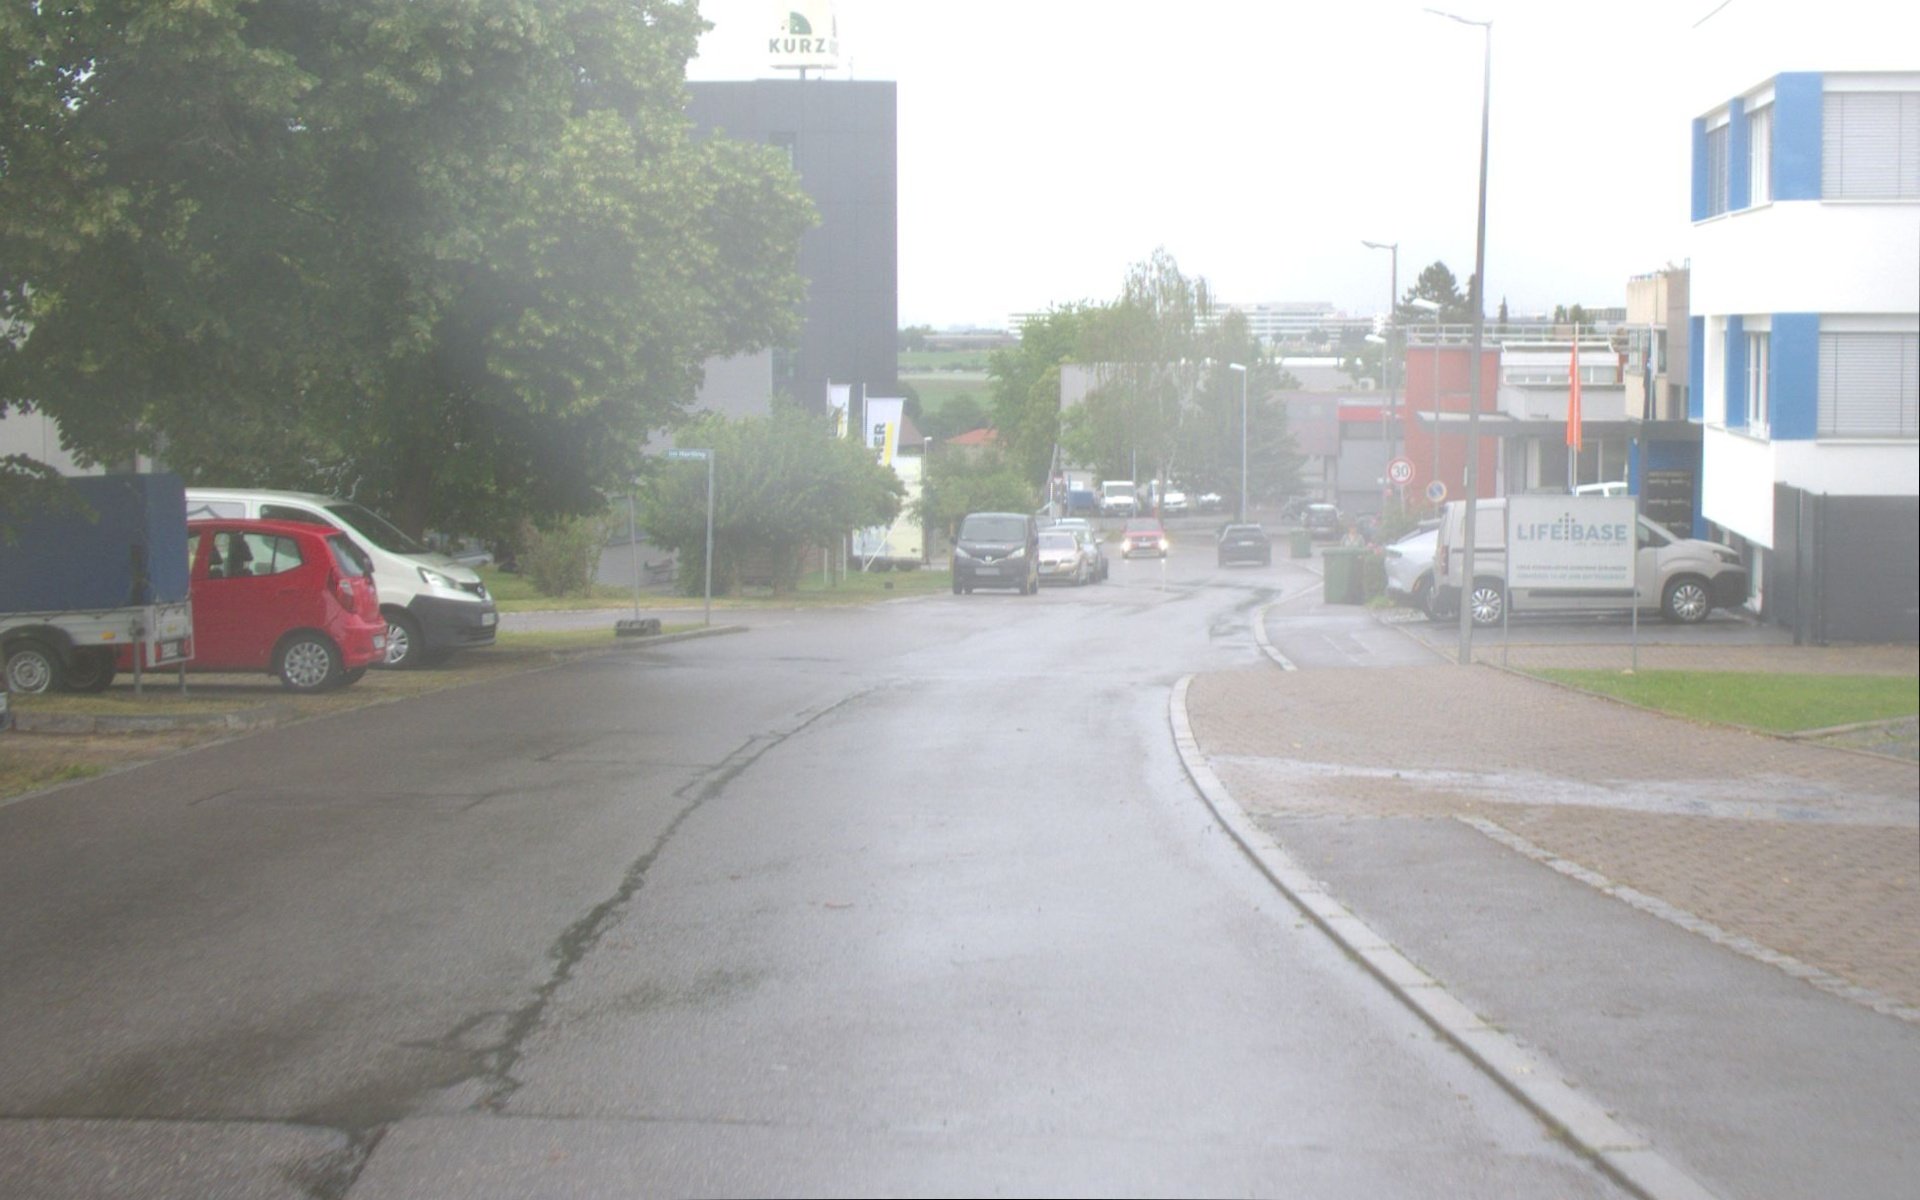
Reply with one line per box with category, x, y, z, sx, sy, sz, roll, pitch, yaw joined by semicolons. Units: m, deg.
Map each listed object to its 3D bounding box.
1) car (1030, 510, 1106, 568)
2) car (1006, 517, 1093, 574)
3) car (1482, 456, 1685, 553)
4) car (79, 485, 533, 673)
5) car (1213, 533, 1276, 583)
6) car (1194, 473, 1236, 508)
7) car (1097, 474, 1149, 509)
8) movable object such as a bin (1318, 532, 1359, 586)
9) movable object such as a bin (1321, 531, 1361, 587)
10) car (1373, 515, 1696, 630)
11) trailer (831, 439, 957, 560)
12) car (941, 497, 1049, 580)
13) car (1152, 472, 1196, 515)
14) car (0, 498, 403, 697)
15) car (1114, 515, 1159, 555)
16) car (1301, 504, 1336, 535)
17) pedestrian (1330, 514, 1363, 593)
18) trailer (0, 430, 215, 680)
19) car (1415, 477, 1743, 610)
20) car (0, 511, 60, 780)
car;3.143;-1.750;99.010;1.957;1.571;4.839;-1;1;4
car;2.445;-1.499;92.675;1.956;1.456;5.247;0;2;6
car;17.679;-2.695;97.724;5.299;2.006;2.221;-8;0;6
car;-6.826;-0.221;36.091;4.301;1.899;1.861;0;1;9
car;9.801;-1.455;118.805;1.956;1.670;4.472;0;1;2
car;15.209;-6.516;205.306;2.145;2.007;3.940;0;1;-1
car;9.670;-6.455;204.436;2.264;2.007;4.001;-1;1;-10
movable object such as a bin;7.219;-0.786;65.575;0.772;1.026;0.808;0;2;7
movable object such as a bin;7.345;-0.796;66.300;0.743;1.063;0.636;0;2;7
car;8.550;-0.425;51.524;4.598;1.533;2.079;-2;1;6
trailer;-2.347;-3.551;121.526;4.184;4.188;2.001;0;2;44
car;0.831;-1.418;78.121;1.916;1.825;4.847;0;1;7
car;12.707;-6.325;204.559;2.192;2.451;4.001;-1;1;-2
car;-7.281;-0.033;31.054;4.195;1.716;1.755;0;1;0
car;7.126;-2.600;138.793;1.747;1.503;3.935;-3;0;3
car;17.608;-3.939;168.892;1.697;1.470;3.999;0;1;5
pedestrian;8.670;-1.045;77.095;0.737;1.761;0.808;0;1;7
trailer;-8.455;-0.356;28.270;4.213;1.977;1.774;0;1;3
car;8.655;-0.802;48.400;4.341;1.767;2.089;-1;1;4
car;-7.931;0.198;20.466;4.618;1.584;1.806;2;1;4
